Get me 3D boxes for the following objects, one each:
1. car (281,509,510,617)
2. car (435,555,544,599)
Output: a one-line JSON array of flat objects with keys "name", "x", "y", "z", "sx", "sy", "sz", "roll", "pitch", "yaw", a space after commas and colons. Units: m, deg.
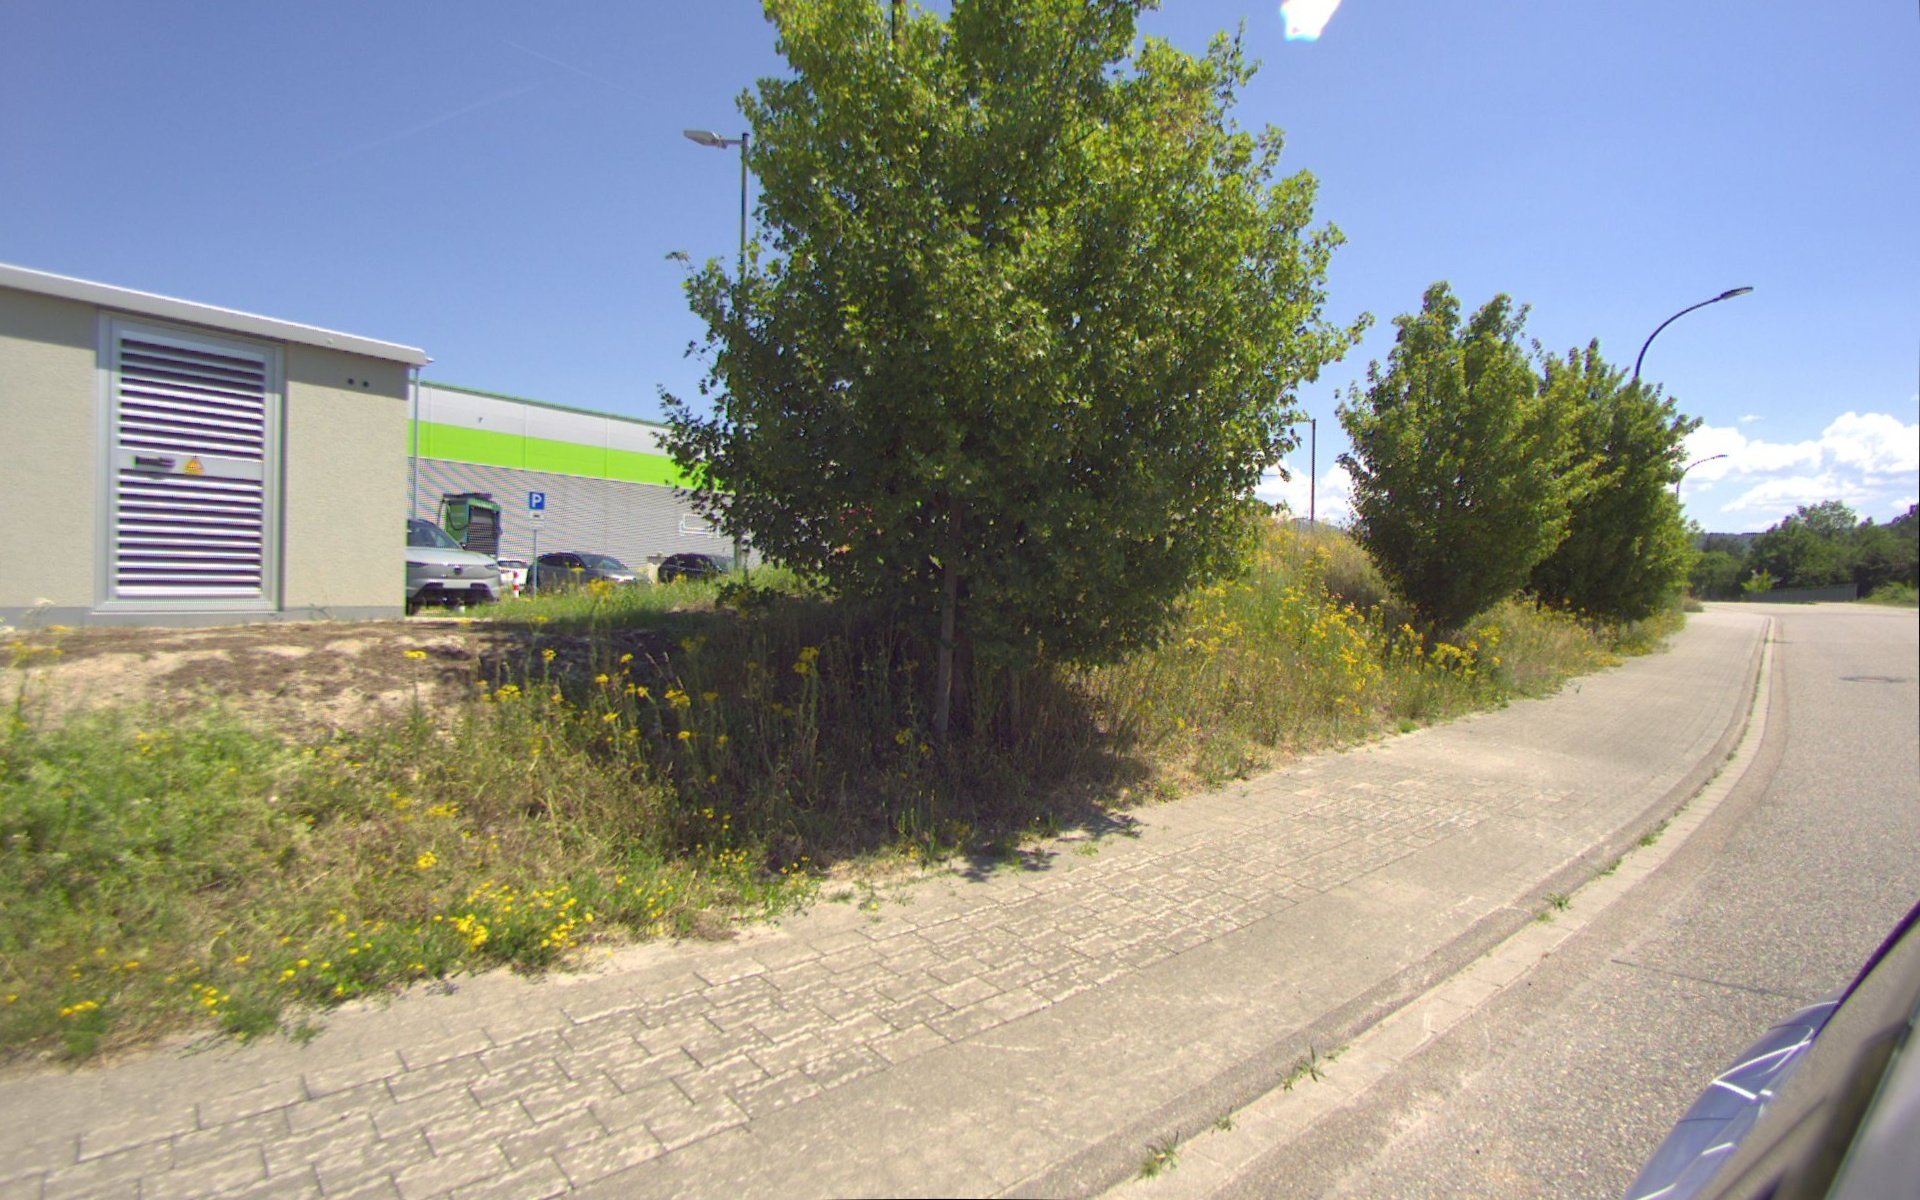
[{"name": "car", "x": -9.848, "y": -0.699, "z": 17.521, "sx": 4.513, "sy": 1.645, "sz": 1.812, "roll": 4, "pitch": 3, "yaw": 37}, {"name": "car", "x": -17.316, "y": -0.879, "z": 37.185, "sx": 3.975, "sy": 1.537, "sz": 1.975, "roll": 2, "pitch": 2, "yaw": 36}]
